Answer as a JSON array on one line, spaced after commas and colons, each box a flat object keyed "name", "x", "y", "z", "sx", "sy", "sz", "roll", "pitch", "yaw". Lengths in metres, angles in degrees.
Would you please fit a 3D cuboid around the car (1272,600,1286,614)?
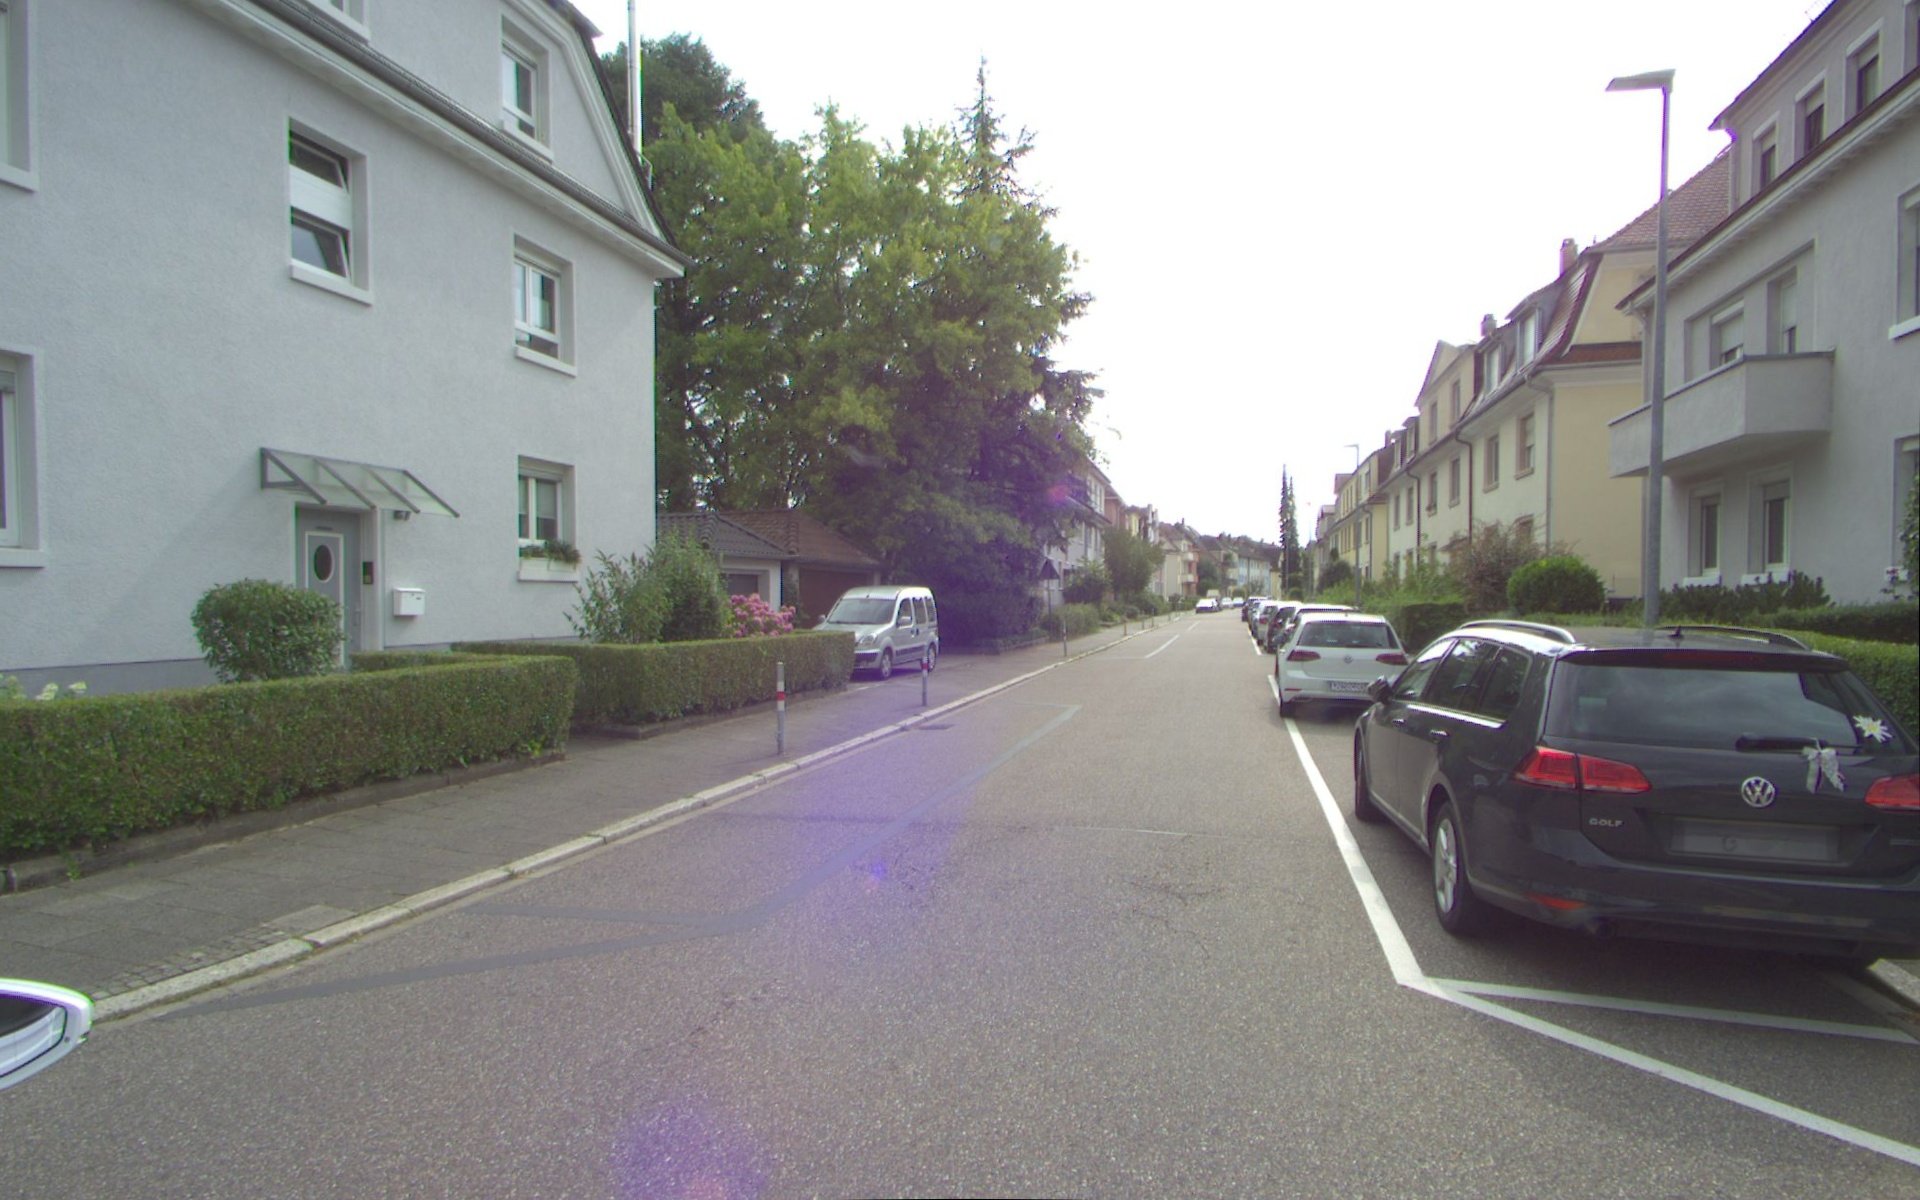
[{"name": "car", "x": 50.246, "y": 1.127, "z": 157.743, "sx": 1.964, "sy": 2.040, "sz": 3.849, "roll": -1, "pitch": 0, "yaw": 17}]

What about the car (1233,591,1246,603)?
[{"name": "car", "x": 49.670, "y": -0.594, "z": 177.724, "sx": 1.965, "sy": 2.152, "sz": 3.992, "roll": 0, "pitch": 0, "yaw": 19}]

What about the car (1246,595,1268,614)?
[{"name": "car", "x": 26.023, "y": 0.372, "z": 87.847, "sx": 1.826, "sy": 1.599, "sz": 4.169, "roll": 0, "pitch": 0, "yaw": 16}]

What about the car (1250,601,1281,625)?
[{"name": "car", "x": 19.576, "y": 0.788, "z": 64.199, "sx": 1.826, "sy": 1.491, "sz": 4.168, "roll": 0, "pitch": 0, "yaw": 17}]

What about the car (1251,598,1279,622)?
[{"name": "car", "x": 21.245, "y": 0.647, "z": 69.771, "sx": 1.826, "sy": 1.599, "sz": 4.168, "roll": 0, "pitch": 0, "yaw": 17}]

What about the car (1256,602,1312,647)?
[{"name": "car", "x": 11.713, "y": 0.840, "z": 36.317, "sx": 1.826, "sy": 1.491, "sz": 4.168, "roll": 0, "pitch": 0, "yaw": 17}]

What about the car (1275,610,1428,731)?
[{"name": "car", "x": 5.736, "y": 0.933, "z": 15.117, "sx": 1.826, "sy": 1.491, "sz": 4.168, "roll": 0, "pitch": 0, "yaw": 17}]

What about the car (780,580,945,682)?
[{"name": "car", "x": -1.846, "y": 0.560, "z": 20.389, "sx": 1.964, "sy": 1.862, "sz": 3.993, "roll": 0, "pitch": 0, "yaw": 17}]

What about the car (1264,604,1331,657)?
[{"name": "car", "x": 10.391, "y": 0.889, "z": 31.034, "sx": 1.826, "sy": 1.491, "sz": 4.168, "roll": 0, "pitch": 0, "yaw": 17}]

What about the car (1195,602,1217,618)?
[{"name": "car", "x": 26.784, "y": 1.057, "z": 108.834, "sx": 1.965, "sy": 1.662, "sz": 3.992, "roll": 0, "pitch": 0, "yaw": 19}]

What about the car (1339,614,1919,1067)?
[{"name": "car", "x": 3.400, "y": 0.859, "z": 5.555, "sx": 1.825, "sy": 1.491, "sz": 4.171, "roll": 0, "pitch": 0, "yaw": 12}]

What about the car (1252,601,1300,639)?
[{"name": "car", "x": 13.226, "y": 0.811, "z": 42.061, "sx": 1.826, "sy": 1.491, "sz": 4.168, "roll": 0, "pitch": 0, "yaw": 17}]

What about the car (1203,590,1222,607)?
[{"name": "car", "x": 30.467, "y": -0.190, "z": 120.652, "sx": 1.964, "sy": 2.040, "sz": 3.993, "roll": 0, "pitch": 0, "yaw": 18}]

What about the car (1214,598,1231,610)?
[{"name": "car", "x": 35.825, "y": 0.526, "z": 136.437, "sx": 1.965, "sy": 1.662, "sz": 3.992, "roll": 0, "pitch": 0, "yaw": 19}]

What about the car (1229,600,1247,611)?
[{"name": "car", "x": 41.419, "y": 0.815, "z": 149.194, "sx": 1.967, "sy": 1.556, "sz": 3.987, "roll": -1, "pitch": 0, "yaw": 24}]

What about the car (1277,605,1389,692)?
[{"name": "car", "x": 7.261, "y": 0.871, "z": 19.841, "sx": 1.826, "sy": 1.491, "sz": 4.168, "roll": 0, "pitch": 0, "yaw": 17}]
